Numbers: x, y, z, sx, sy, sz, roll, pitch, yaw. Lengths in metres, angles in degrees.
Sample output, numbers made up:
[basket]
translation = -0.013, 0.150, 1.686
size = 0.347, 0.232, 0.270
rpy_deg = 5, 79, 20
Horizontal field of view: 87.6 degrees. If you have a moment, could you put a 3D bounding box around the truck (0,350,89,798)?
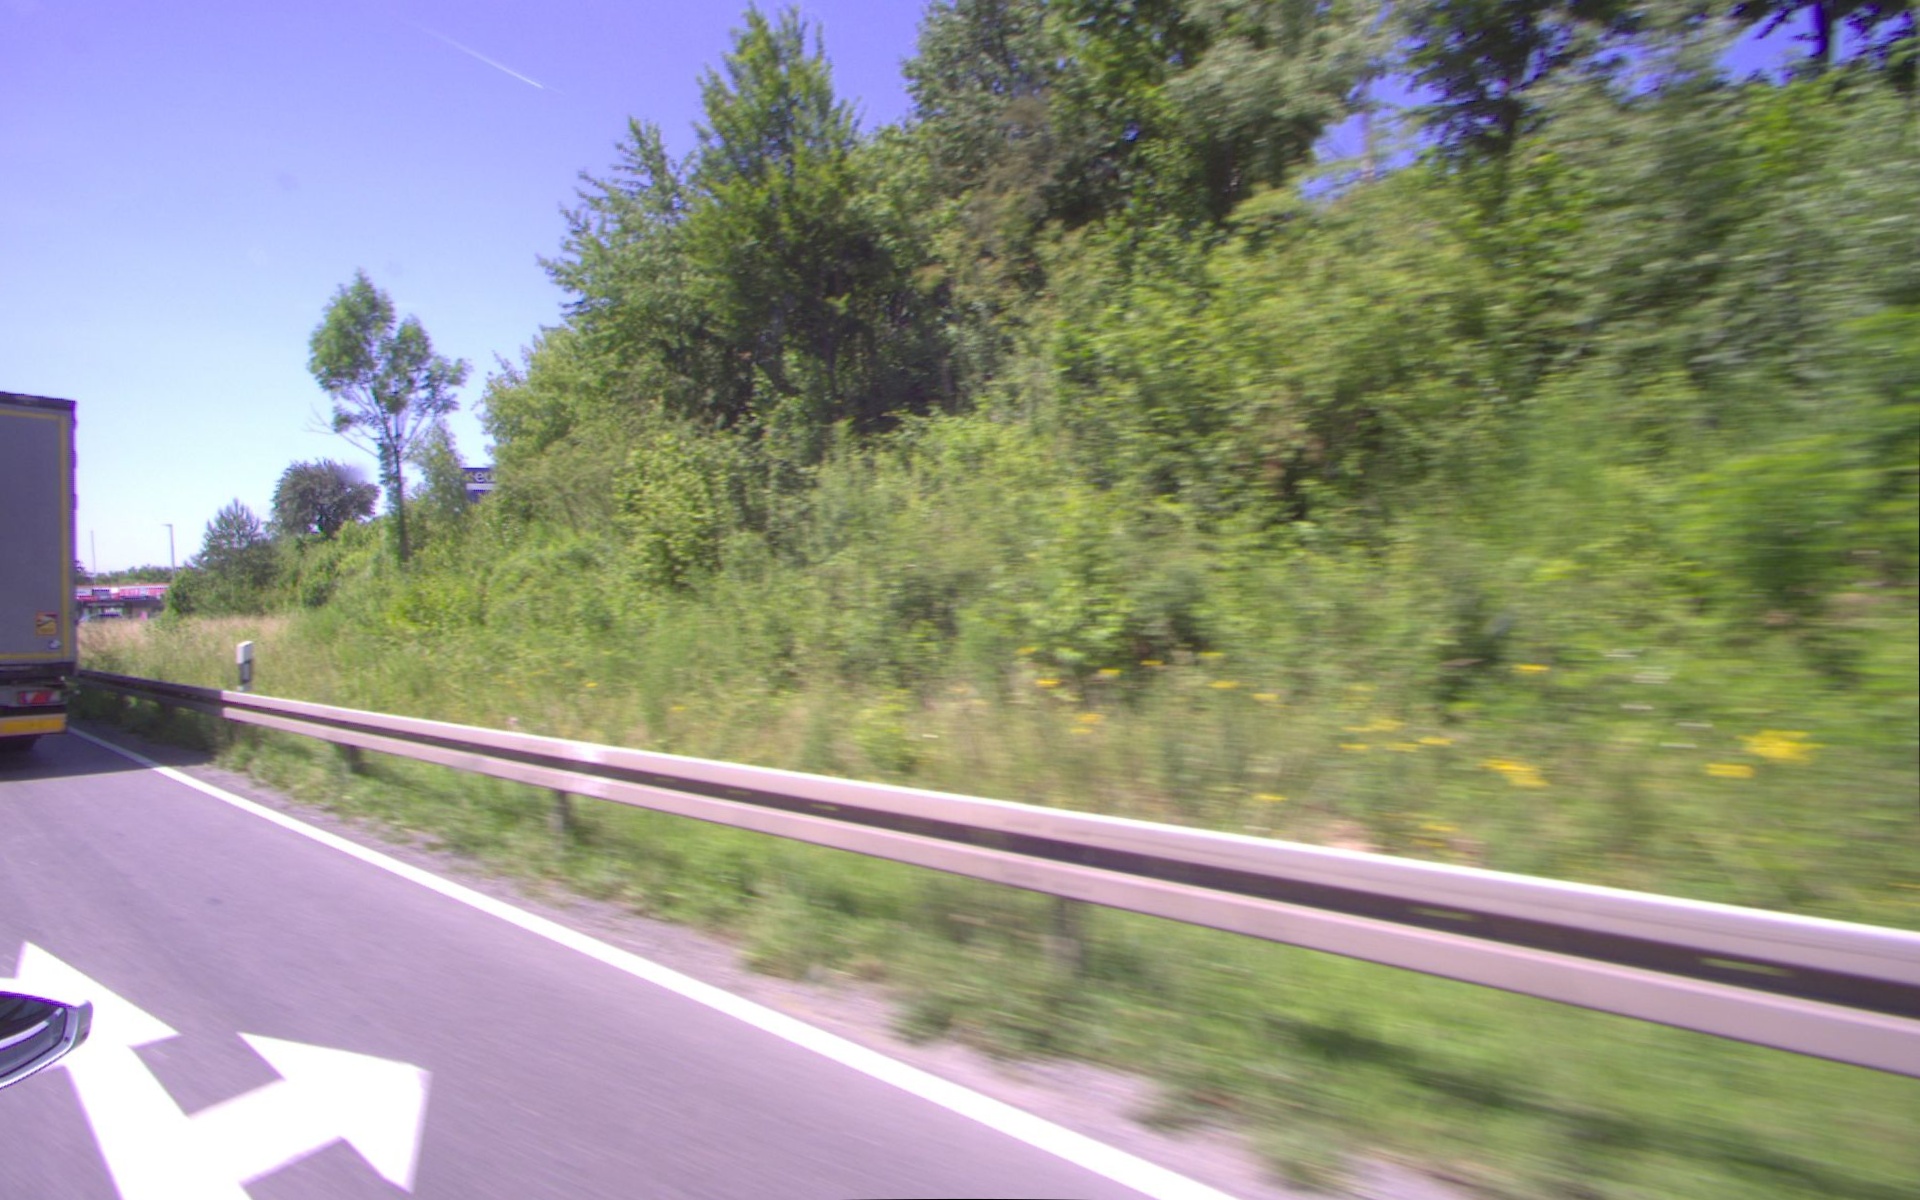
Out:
[truck]
translation = -16.629, 0.015, 15.458
size = 16.472, 4.698, 2.742
rpy_deg = -3, -2, 42
